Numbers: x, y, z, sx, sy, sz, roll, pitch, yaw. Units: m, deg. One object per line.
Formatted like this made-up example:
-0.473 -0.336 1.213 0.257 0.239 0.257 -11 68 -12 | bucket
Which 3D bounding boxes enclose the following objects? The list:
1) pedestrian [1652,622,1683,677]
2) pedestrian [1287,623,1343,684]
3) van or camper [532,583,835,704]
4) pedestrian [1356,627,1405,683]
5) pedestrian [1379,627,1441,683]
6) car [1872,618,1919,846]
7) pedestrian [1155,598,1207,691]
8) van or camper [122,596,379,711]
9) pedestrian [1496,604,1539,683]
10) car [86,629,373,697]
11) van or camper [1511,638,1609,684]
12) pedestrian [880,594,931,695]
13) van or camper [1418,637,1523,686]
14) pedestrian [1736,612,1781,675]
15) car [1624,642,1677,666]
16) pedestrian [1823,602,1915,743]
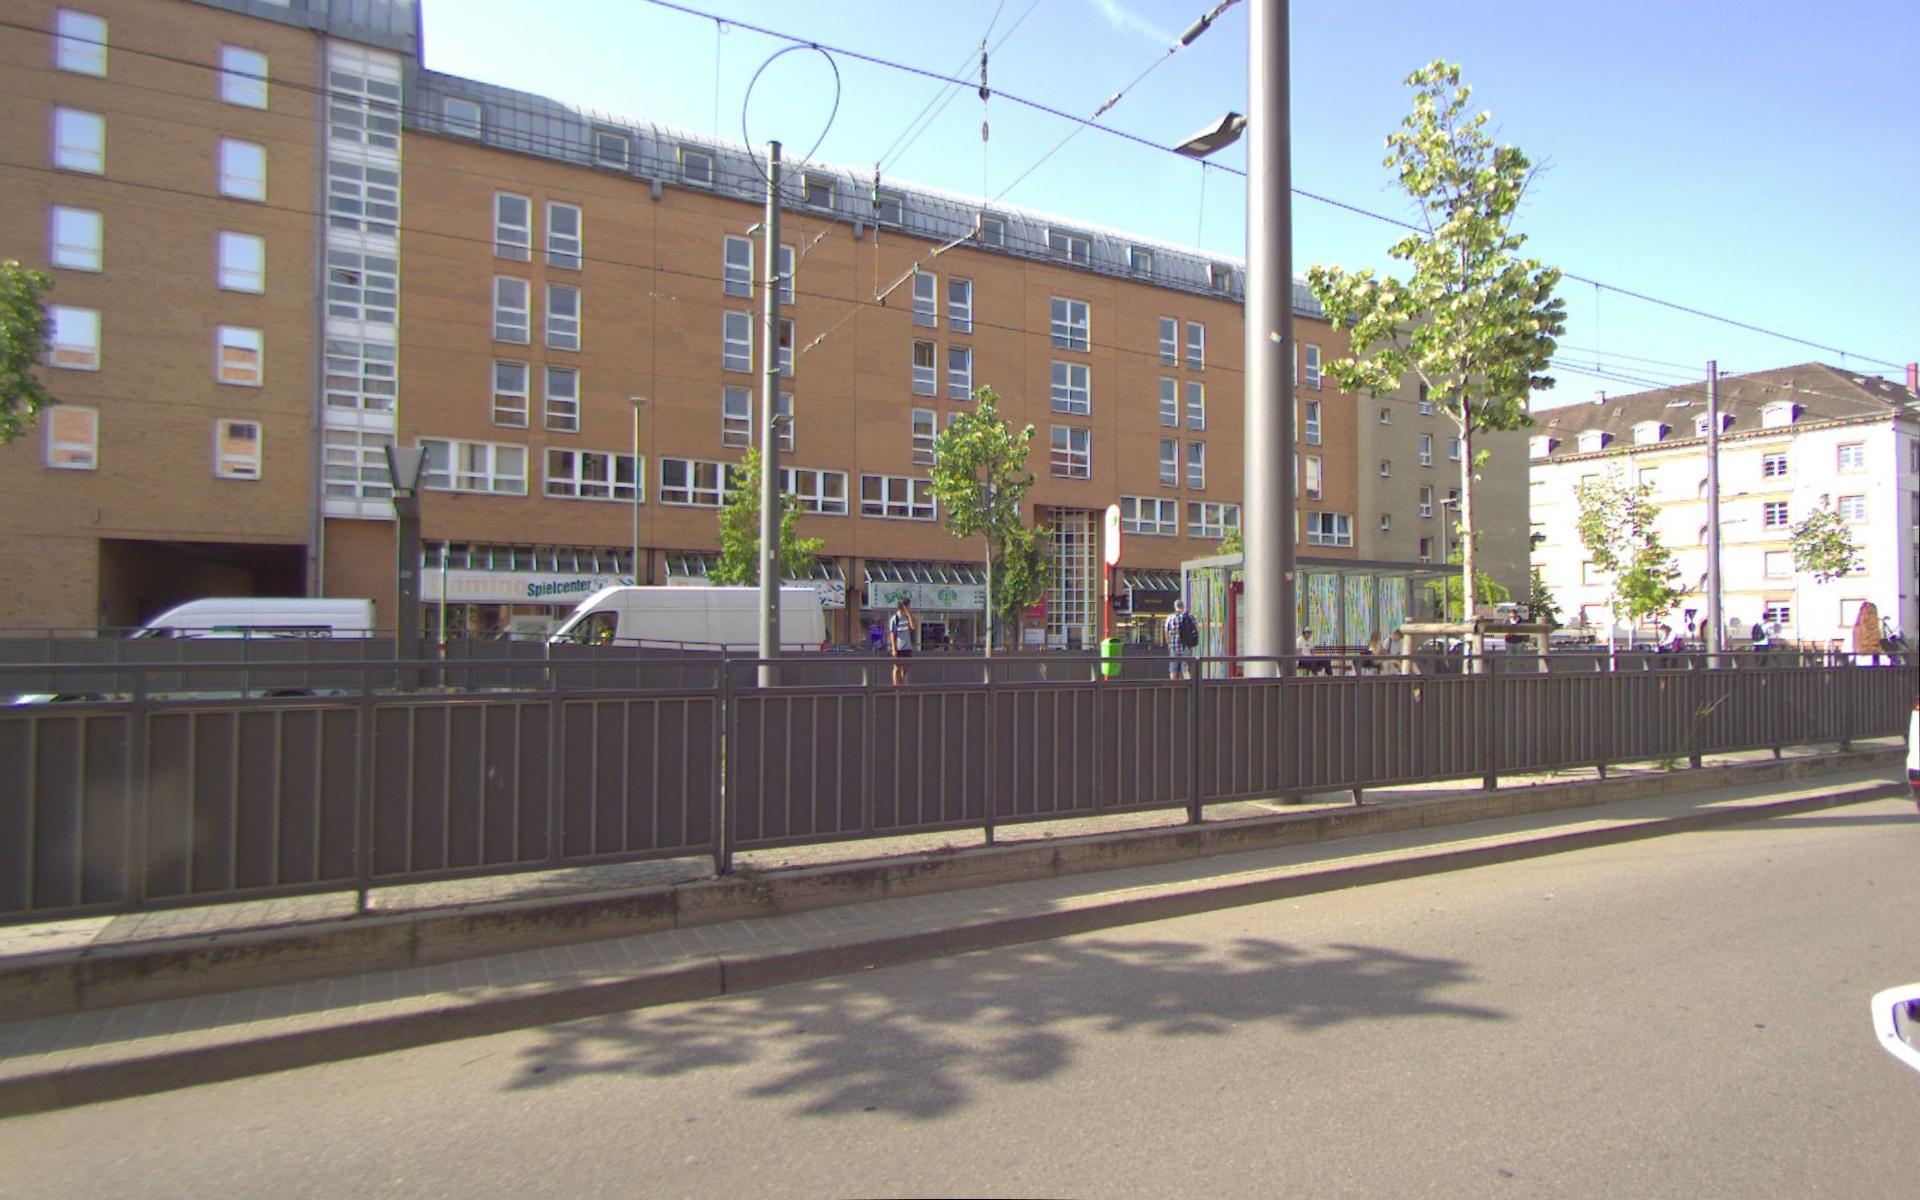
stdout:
20.325 1.408 28.871 0.666 1.550 0.810 -1 -2 32 | pedestrian
8.005 1.201 22.640 0.799 1.331 0.865 1 -3 -30 | pedestrian
-5.227 0.837 19.169 5.274 2.040 2.075 1 -3 -28 | van or camper
9.791 1.275 23.374 0.667 1.261 0.788 1 -3 -28 | pedestrian
10.528 1.283 23.527 0.667 1.261 1.149 1 -3 -28 | pedestrian
8.981 0.963 7.521 4.350 1.611 1.810 1 -2 -28 | car
4.336 0.889 19.687 0.770 1.769 0.834 -2 -4 26 | pedestrian
-18.683 1.410 26.845 5.285 2.838 1.986 1 -3 -28 | van or camper
13.781 1.076 24.856 0.791 1.911 0.555 0 -2 15 | pedestrian
-11.358 0.974 15.914 3.444 0.983 1.540 1 -3 -28 | car
27.422 2.758 45.930 3.943 1.994 1.926 1 -2 -23 | van or camper
-0.997 0.795 18.243 0.689 1.784 0.649 2 0 -26 | pedestrian
22.244 2.633 43.783 3.943 2.040 1.990 1 -2 -23 | van or camper
24.532 1.344 30.866 0.927 1.896 0.736 1 -2 -26 | pedestrian
47.014 3.638 68.370 3.884 1.553 1.663 1 -3 -33 | car
11.960 0.931 13.223 0.718 1.781 0.670 2 0 -28 | pedestrian
